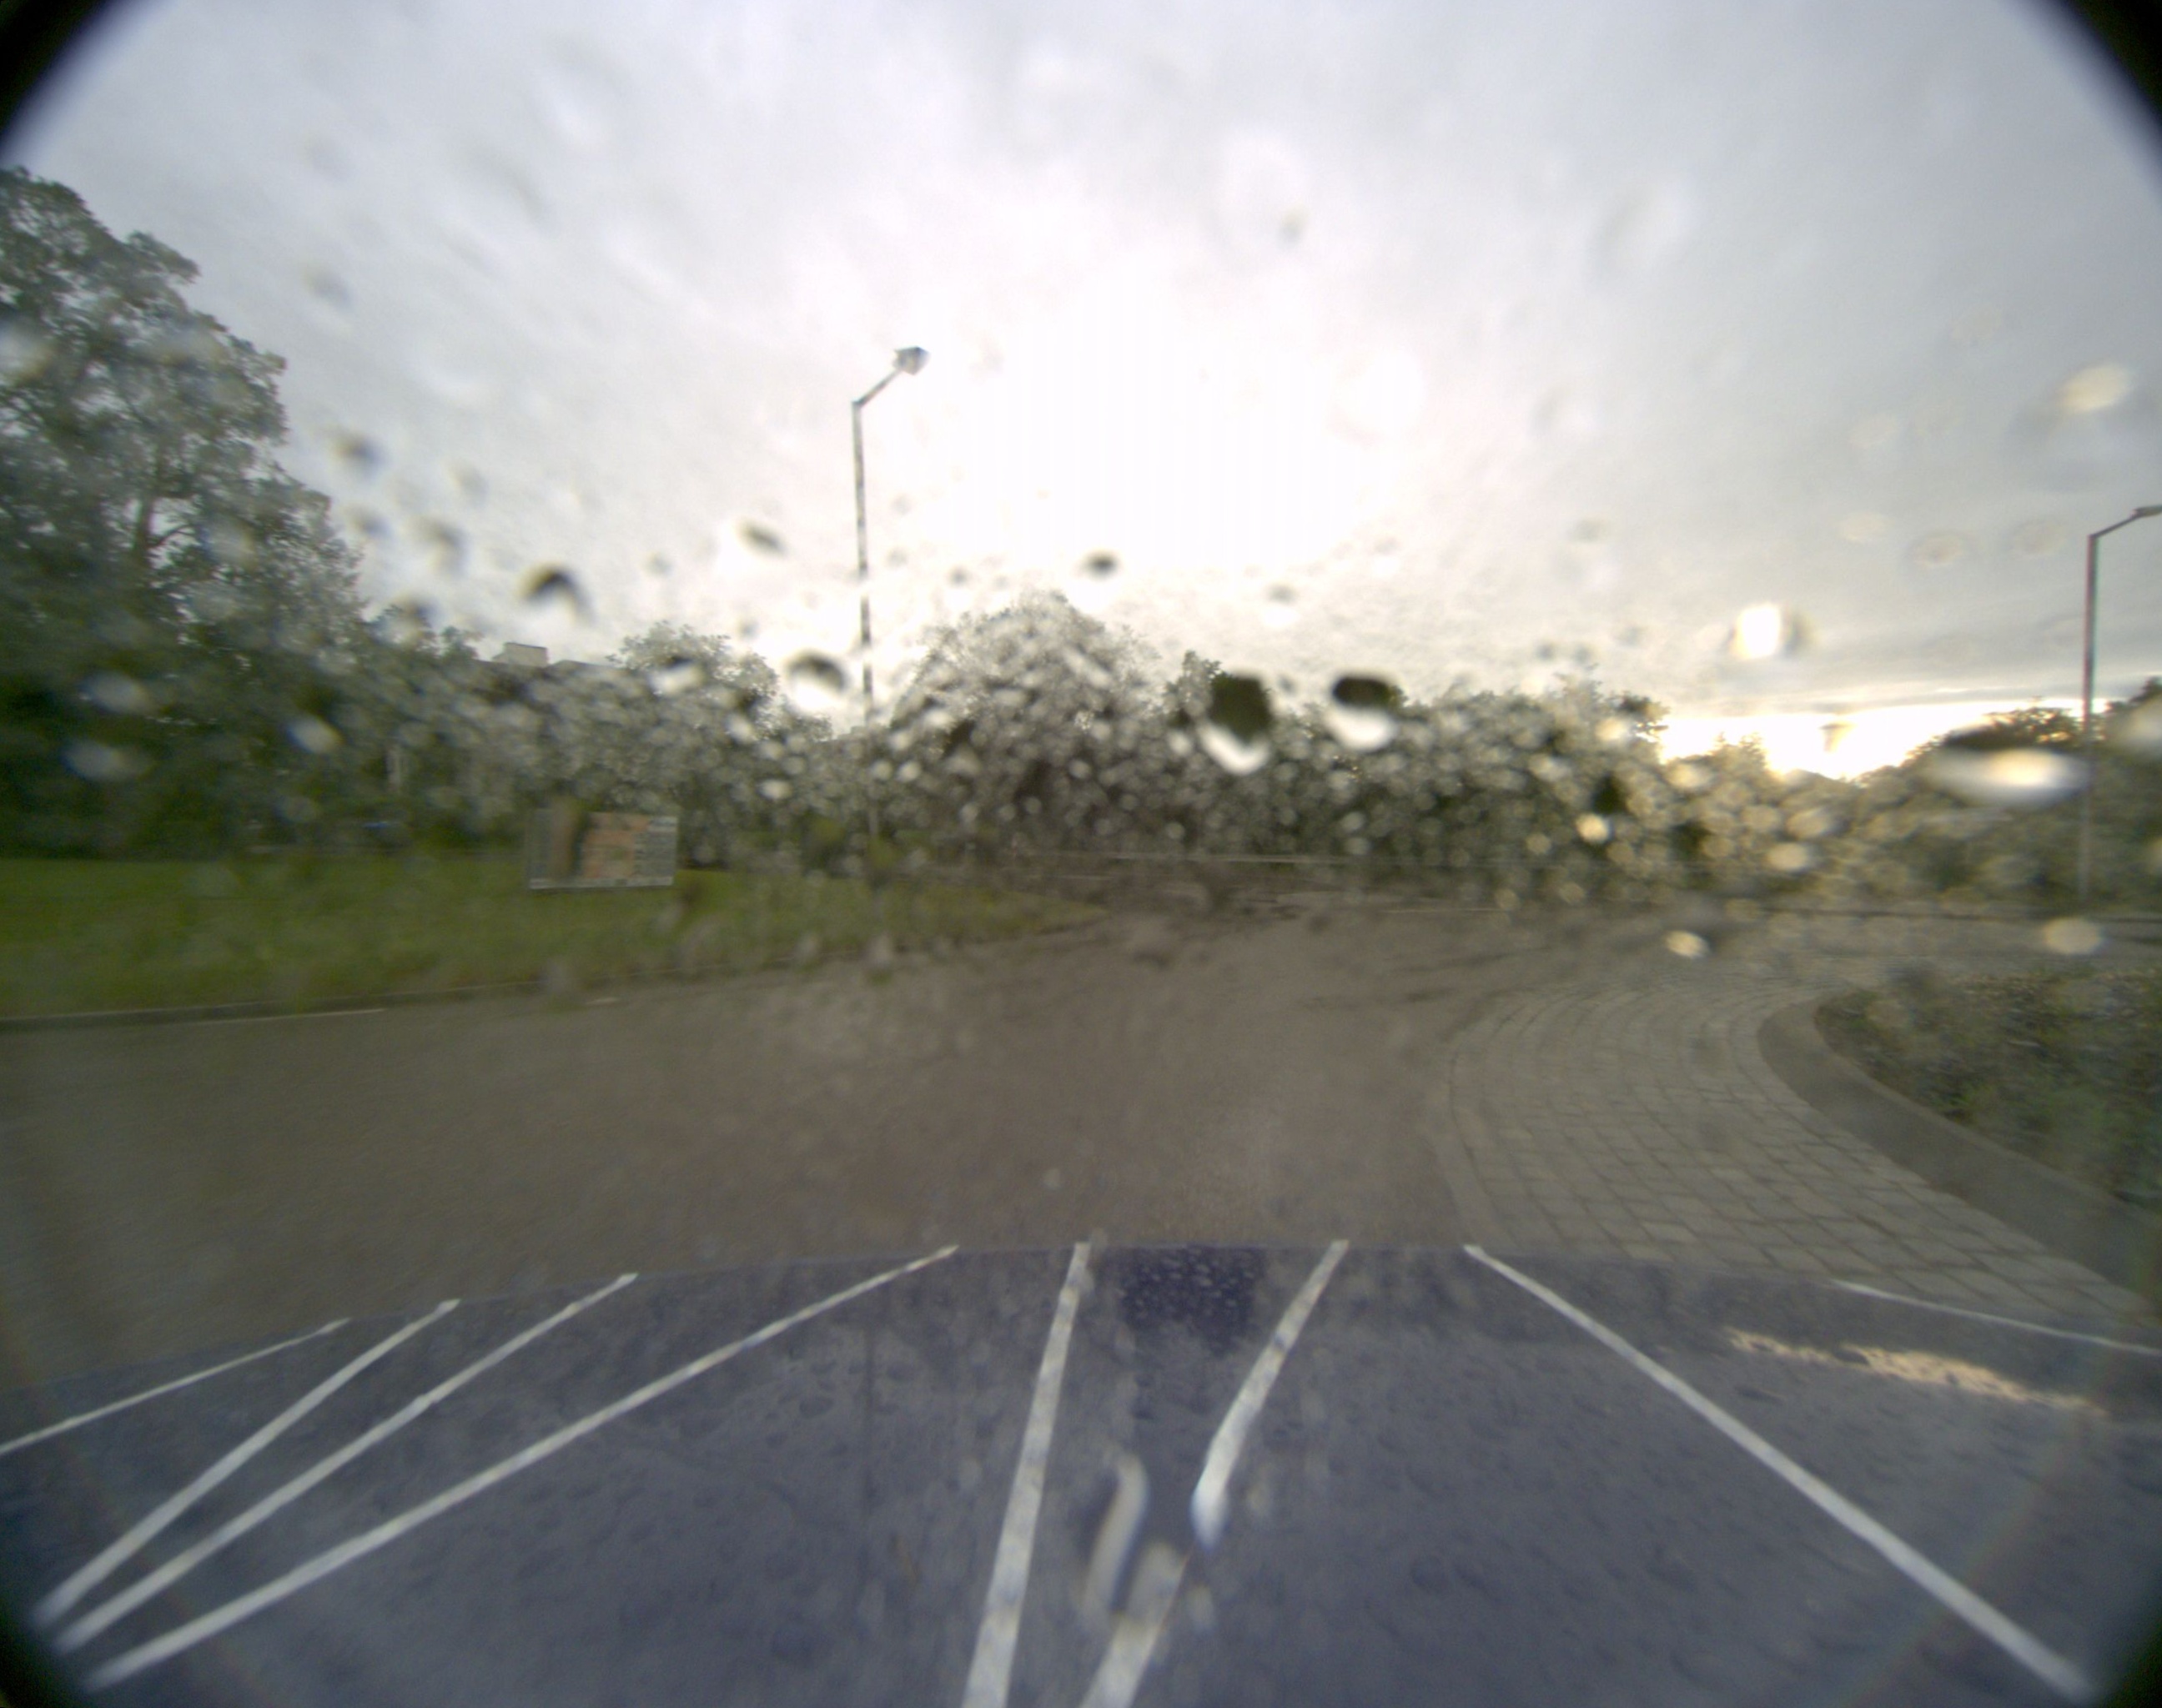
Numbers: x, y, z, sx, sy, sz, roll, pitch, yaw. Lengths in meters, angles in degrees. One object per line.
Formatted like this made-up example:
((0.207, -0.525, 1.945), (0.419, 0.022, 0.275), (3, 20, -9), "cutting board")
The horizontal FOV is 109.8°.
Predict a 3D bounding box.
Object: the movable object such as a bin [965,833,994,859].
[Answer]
((-5.702, -0.469, 42.904), (1.072, 1.335, 1.199), (1, 6, 27), "movable object such as a bin")

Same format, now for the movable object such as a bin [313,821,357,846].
((-43.613, -1.184, 44.445), (1.426, 1.429, 1.198), (0, 2, 11), "movable object such as a bin")

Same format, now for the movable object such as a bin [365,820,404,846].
((-40.373, -1.219, 44.067), (1.073, 1.429, 1.198), (0, 4, 11), "movable object such as a bin")

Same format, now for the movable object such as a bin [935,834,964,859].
((-7.453, -0.439, 43.023), (1.072, 1.429, 1.200), (1, 3, 28), "movable object such as a bin")
